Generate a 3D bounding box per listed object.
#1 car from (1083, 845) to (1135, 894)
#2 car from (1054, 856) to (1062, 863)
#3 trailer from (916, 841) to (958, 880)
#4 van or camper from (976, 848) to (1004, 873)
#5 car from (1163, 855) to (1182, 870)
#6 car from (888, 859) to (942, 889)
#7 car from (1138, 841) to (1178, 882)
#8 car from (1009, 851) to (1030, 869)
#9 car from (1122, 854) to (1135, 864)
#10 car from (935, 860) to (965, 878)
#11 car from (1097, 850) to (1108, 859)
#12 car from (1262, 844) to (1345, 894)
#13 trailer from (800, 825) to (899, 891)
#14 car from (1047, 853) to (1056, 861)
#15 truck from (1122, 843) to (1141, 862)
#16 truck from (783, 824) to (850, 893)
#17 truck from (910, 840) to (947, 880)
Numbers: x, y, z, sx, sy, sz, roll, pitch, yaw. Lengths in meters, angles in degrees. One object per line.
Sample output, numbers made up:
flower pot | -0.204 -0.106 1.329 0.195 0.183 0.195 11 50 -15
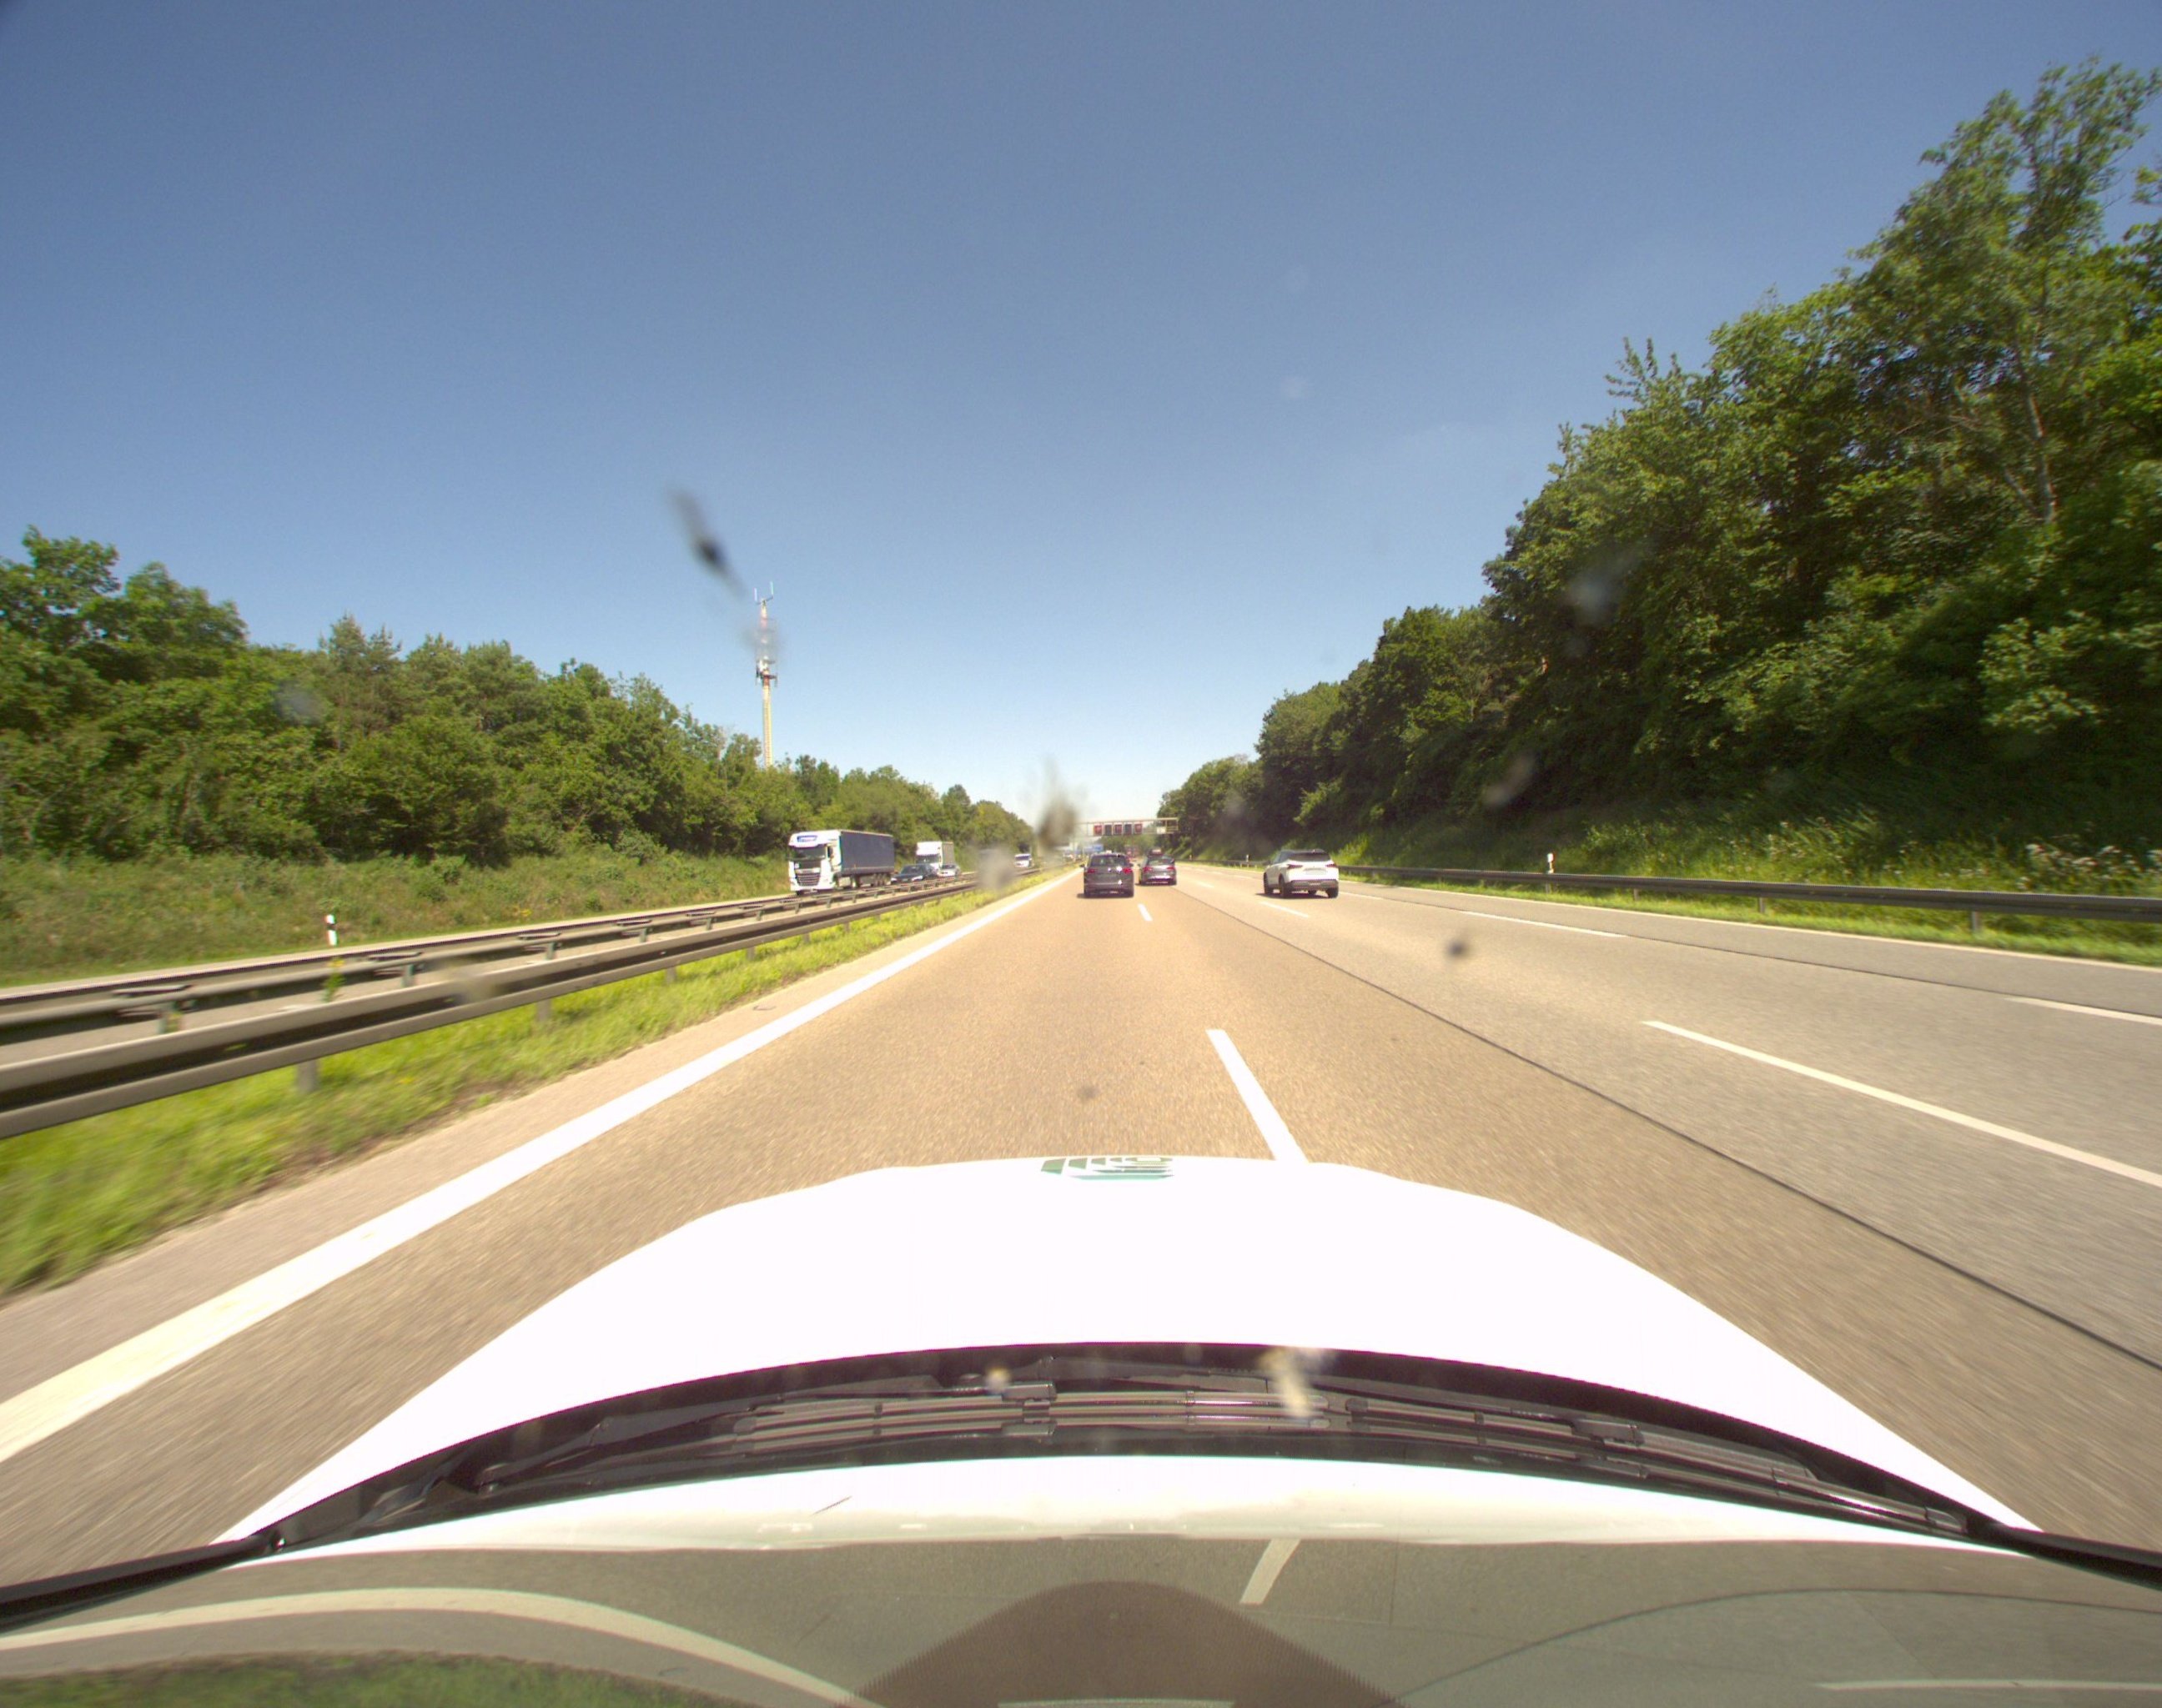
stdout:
car | 1.102 0.541 30.563 1.792 1.669 4.262 0 0 3
car | -5.581 1.345 199.394 1.707 1.398 4.150 -3 0 1
trailer | -15.443 0.649 87.923 2.702 3.809 7.695 -4 0 1
van or camper | -10.987 0.754 98.651 2.189 2.811 6.801 -4 0 2
car | 9.906 0.892 88.563 1.757 1.568 4.262 0 0 3
car | -8.963 1.039 44.380 1.800 1.405 4.820 -3 0 2
car | 3.847 0.375 41.239 1.659 1.876 4.829 -3 0 2
car | -7.391 0.744 98.365 1.921 1.981 5.236 -5 0 1
car | 7.094 0.776 121.653 1.757 1.381 4.262 0 0 3
car | -11.543 1.269 71.890 1.707 1.418 4.505 -3 0 1
car | 3.648 0.103 135.834 1.757 1.568 4.262 0 0 3
car | 7.475 0.467 27.748 1.836 1.568 4.037 0 0 1
trailer | -16.511 0.235 59.606 2.605 4.058 14.173 -4 0 1
car | -5.352 0.527 147.555 1.428 1.528 3.458 -2 0 1
truck | 12.487 -0.264 203.037 3.767 4.422 14.050 -1 0 0
truck | -16.713 0.261 51.670 2.605 4.058 4.001 -4 0 1
truck | -15.538 0.634 83.342 2.693 3.809 4.001 -4 0 1
